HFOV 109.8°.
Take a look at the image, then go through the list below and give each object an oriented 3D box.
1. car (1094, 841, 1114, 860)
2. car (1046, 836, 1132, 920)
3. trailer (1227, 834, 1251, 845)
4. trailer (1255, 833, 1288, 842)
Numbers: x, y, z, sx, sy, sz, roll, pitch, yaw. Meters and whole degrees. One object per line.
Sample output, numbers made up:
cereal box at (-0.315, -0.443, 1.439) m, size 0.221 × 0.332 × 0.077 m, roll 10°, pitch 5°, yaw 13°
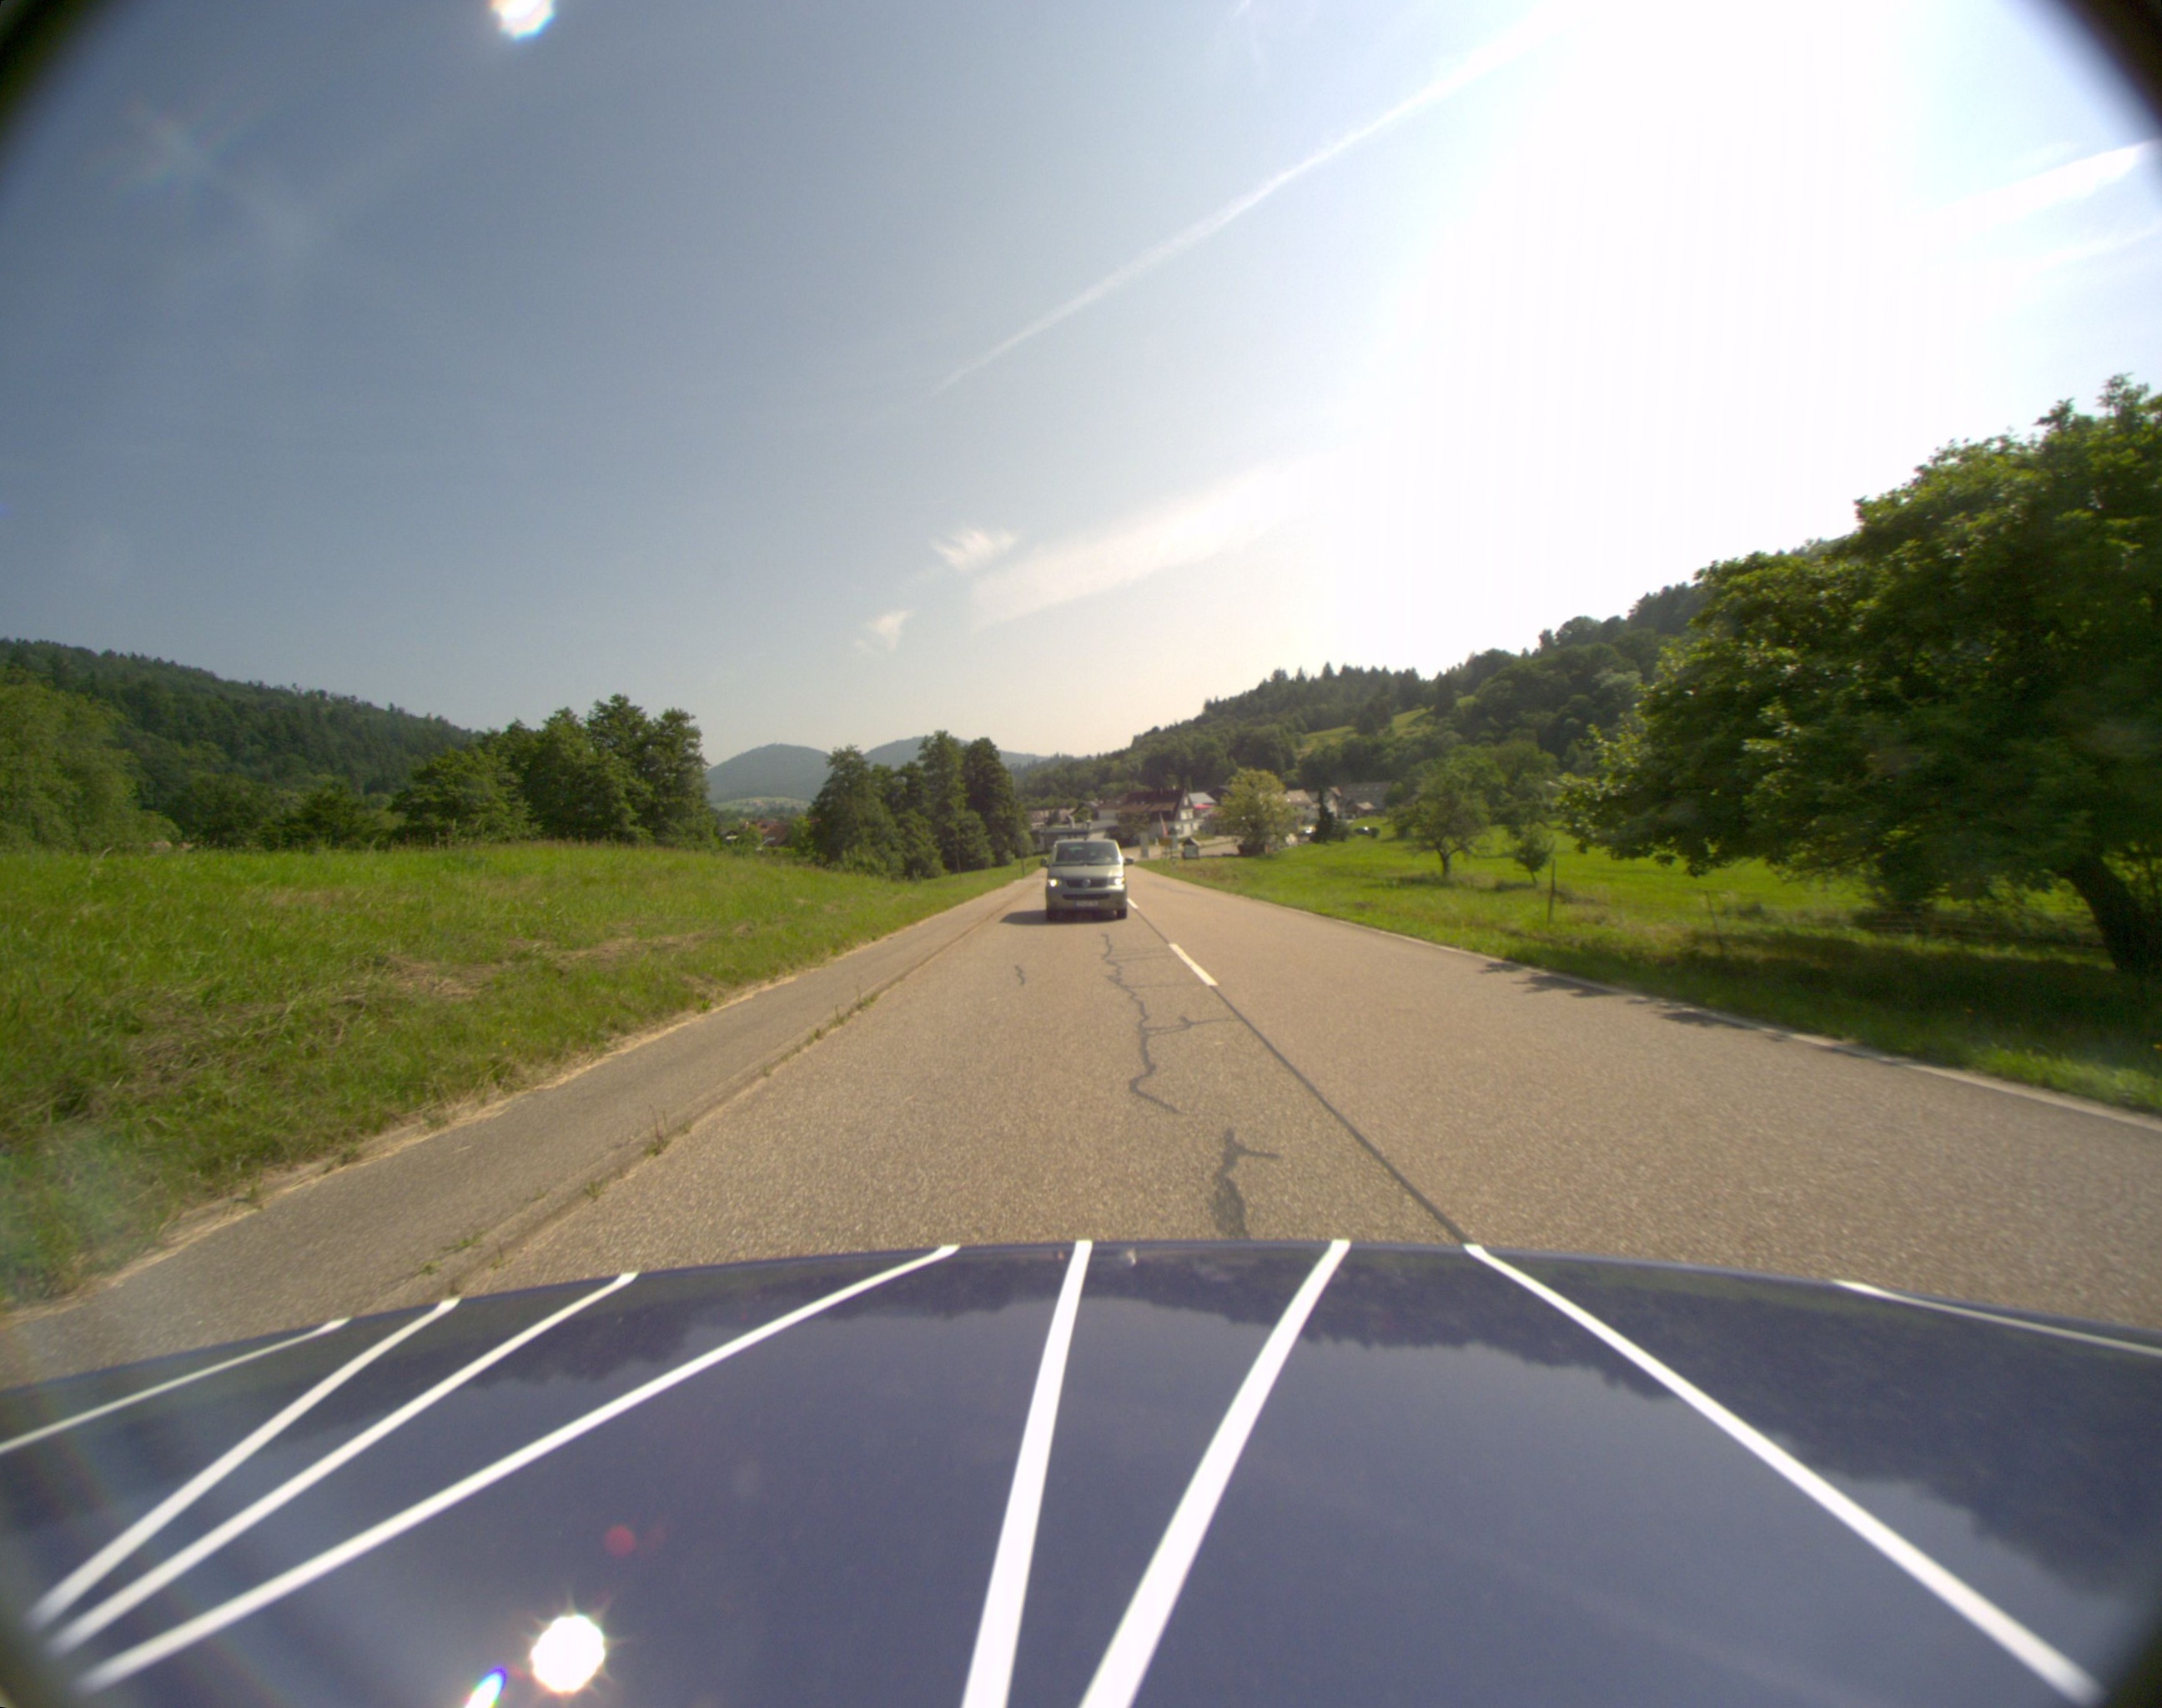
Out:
car at (2.697, -0.451, 88.241) m, size 1.766 × 1.737 × 3.979 m, roll -4°, pitch 4°, yaw 8°
car at (0.206, 0.540, 20.618) m, size 2.024 × 1.970 × 5.048 m, roll -1°, pitch 1°, yaw 0°
trailer at (24.551, -2.241, 117.934) m, size 1.995 × 1.220 × 5.553 m, roll -3°, pitch 3°, yaw 30°
trailer at (26.116, -2.301, 104.141) m, size 3.935 × 0.934 × 1.870 m, roll -3°, pitch 4°, yaw 32°
